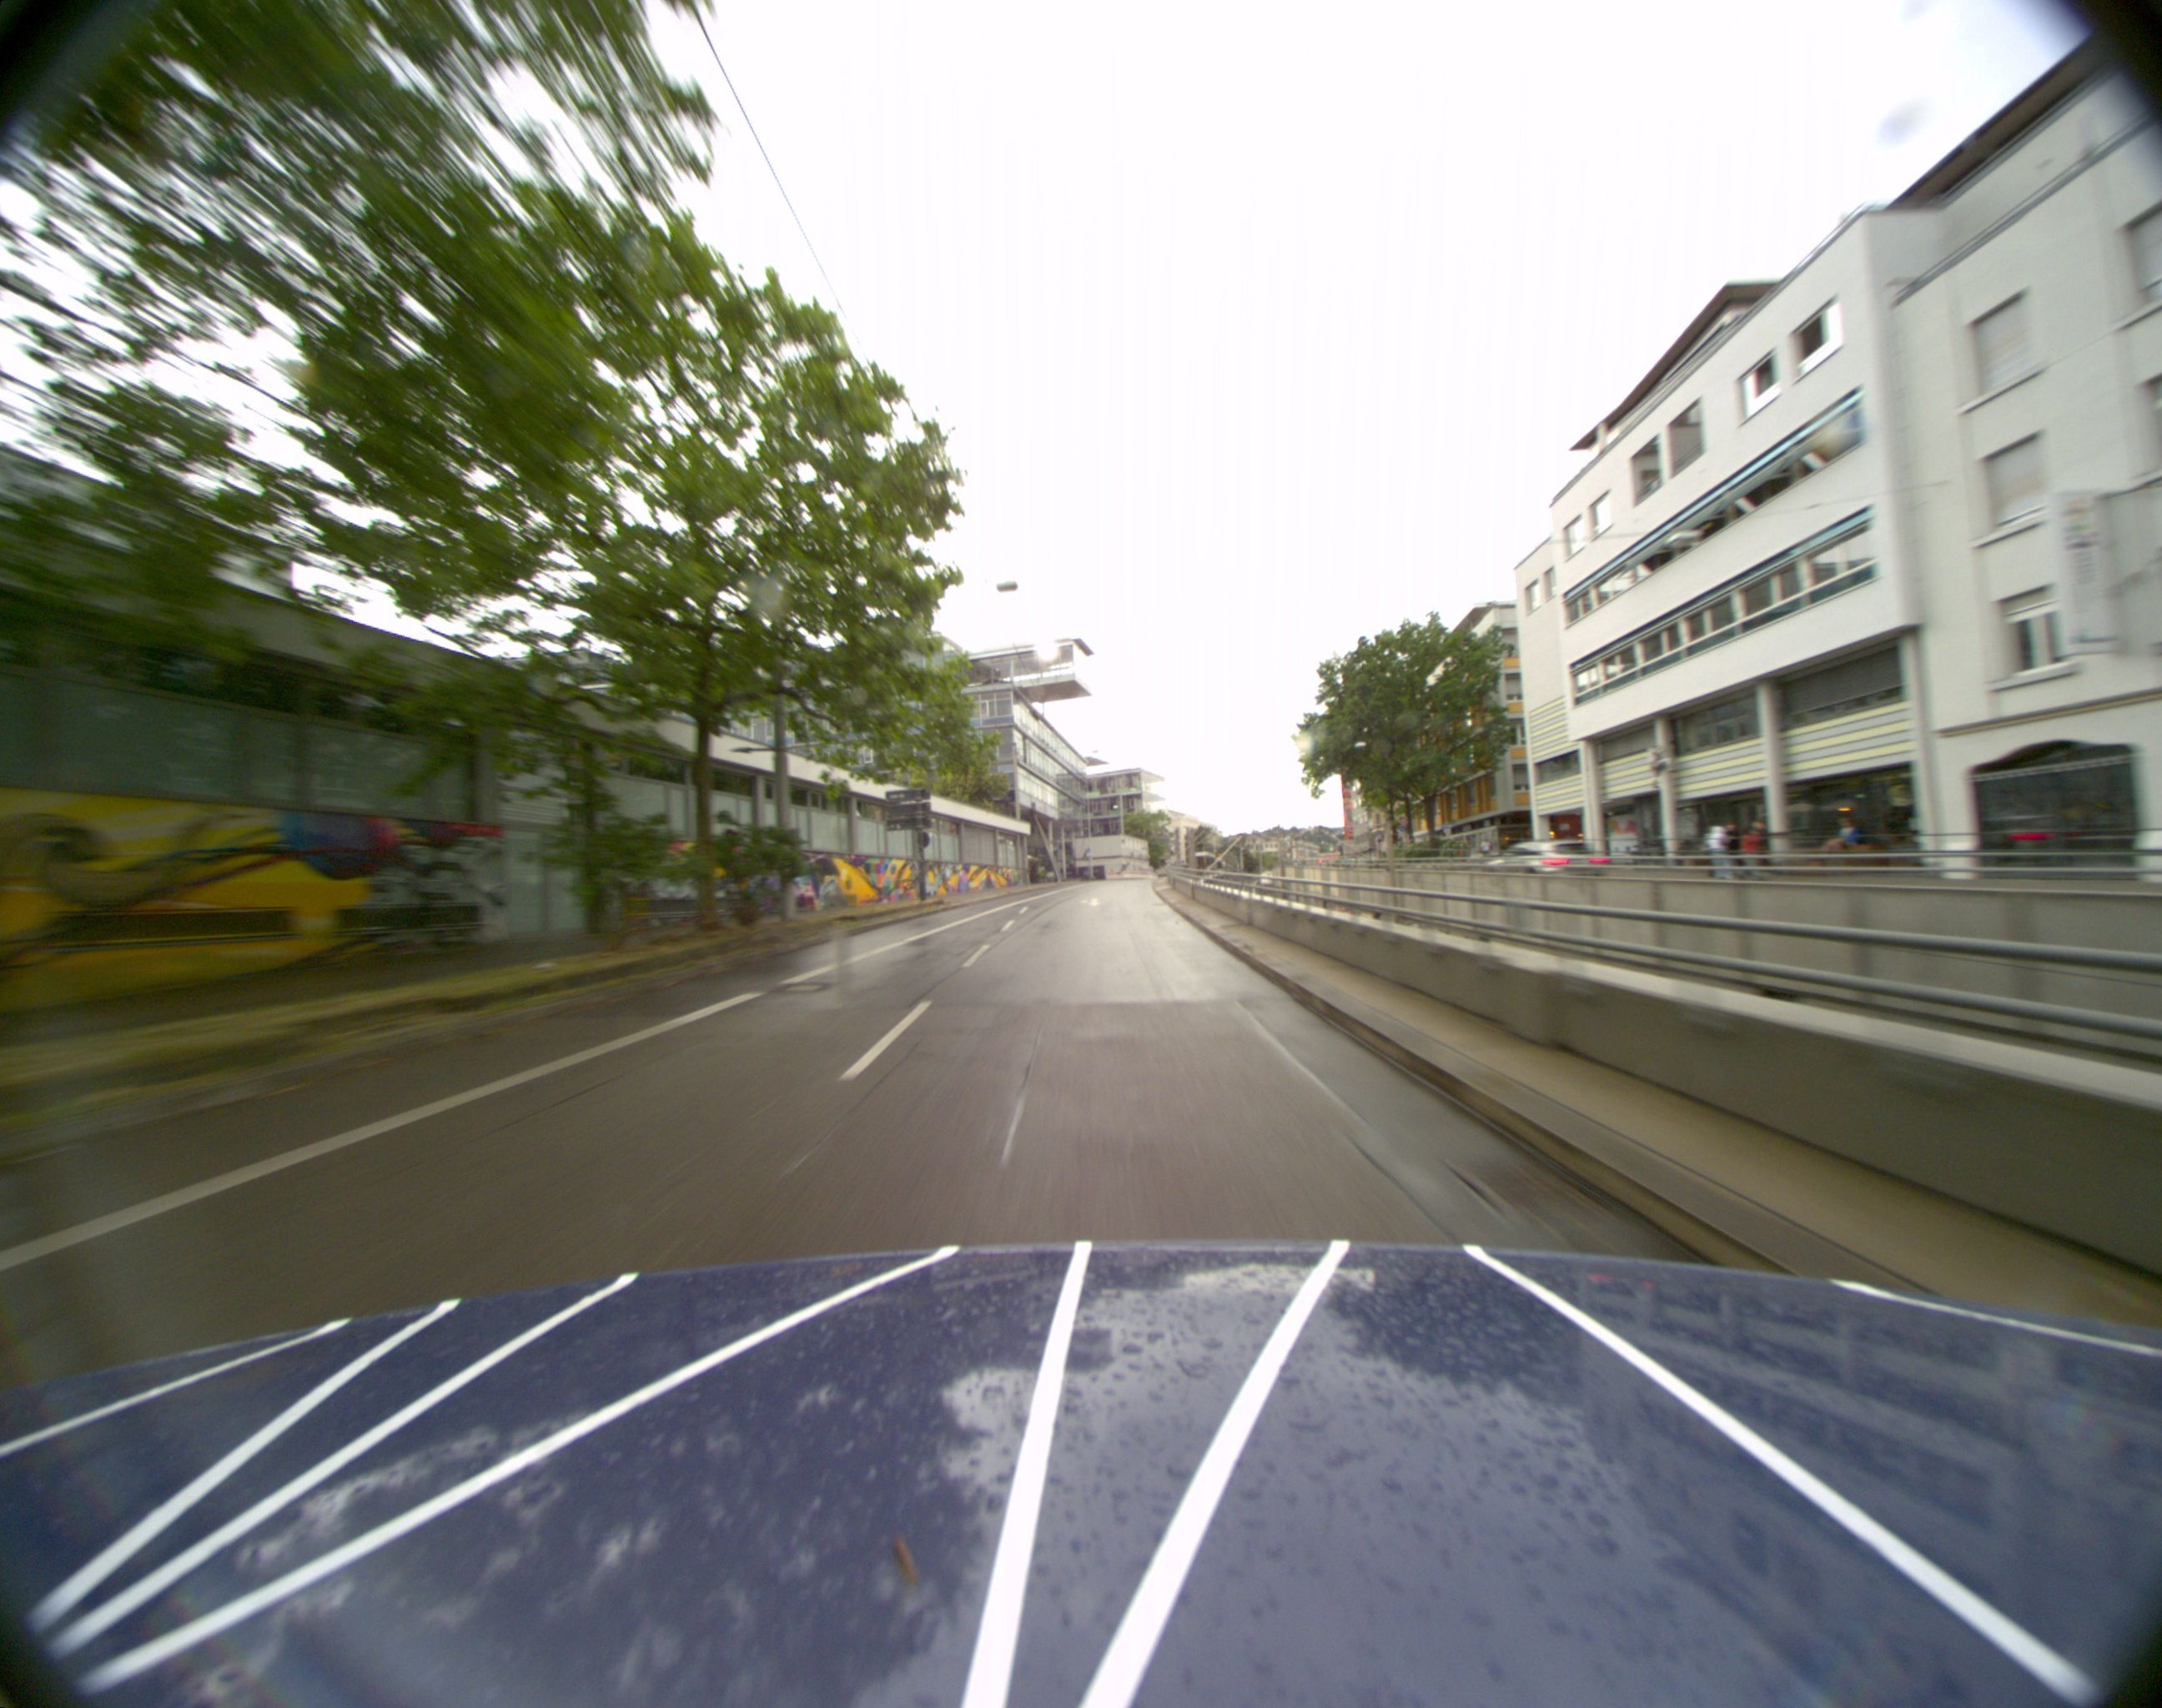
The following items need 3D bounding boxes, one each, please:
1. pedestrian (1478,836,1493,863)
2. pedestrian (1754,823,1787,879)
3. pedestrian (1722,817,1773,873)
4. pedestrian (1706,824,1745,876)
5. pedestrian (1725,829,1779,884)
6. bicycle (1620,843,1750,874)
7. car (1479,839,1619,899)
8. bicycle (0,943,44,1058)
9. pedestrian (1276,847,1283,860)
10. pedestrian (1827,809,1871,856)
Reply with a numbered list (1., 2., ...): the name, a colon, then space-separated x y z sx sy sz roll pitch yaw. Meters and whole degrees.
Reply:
1. pedestrian: 28.528 -0.302 53.595 0.666 1.838 0.831 -1 0 9
2. pedestrian: 21.705 -0.080 23.922 0.675 1.711 0.608 -3 -1 -40
3. pedestrian: 21.891 -0.275 24.968 0.674 1.774 0.941 -3 -1 -15
4. pedestrian: 20.652 -0.126 24.354 0.675 1.633 0.793 -3 -1 -43
5. pedestrian: 20.392 0.072 23.096 0.674 1.606 0.941 -3 -1 -15
6. bicycle: 23.313 0.166 29.571 1.696 1.037 4.523 -2 0 4
7. car: 15.169 0.486 24.984 1.841 1.702 4.578 -3 -1 2
8. bicycle: -11.250 1.494 6.784 0.808 1.105 2.199 -3 0 7
9. pedestrian: 24.139 -0.059 92.386 0.678 1.639 0.897 2 0 21
10. pedestrian: 23.848 -0.651 23.599 0.608 1.410 0.674 -3 0 5
